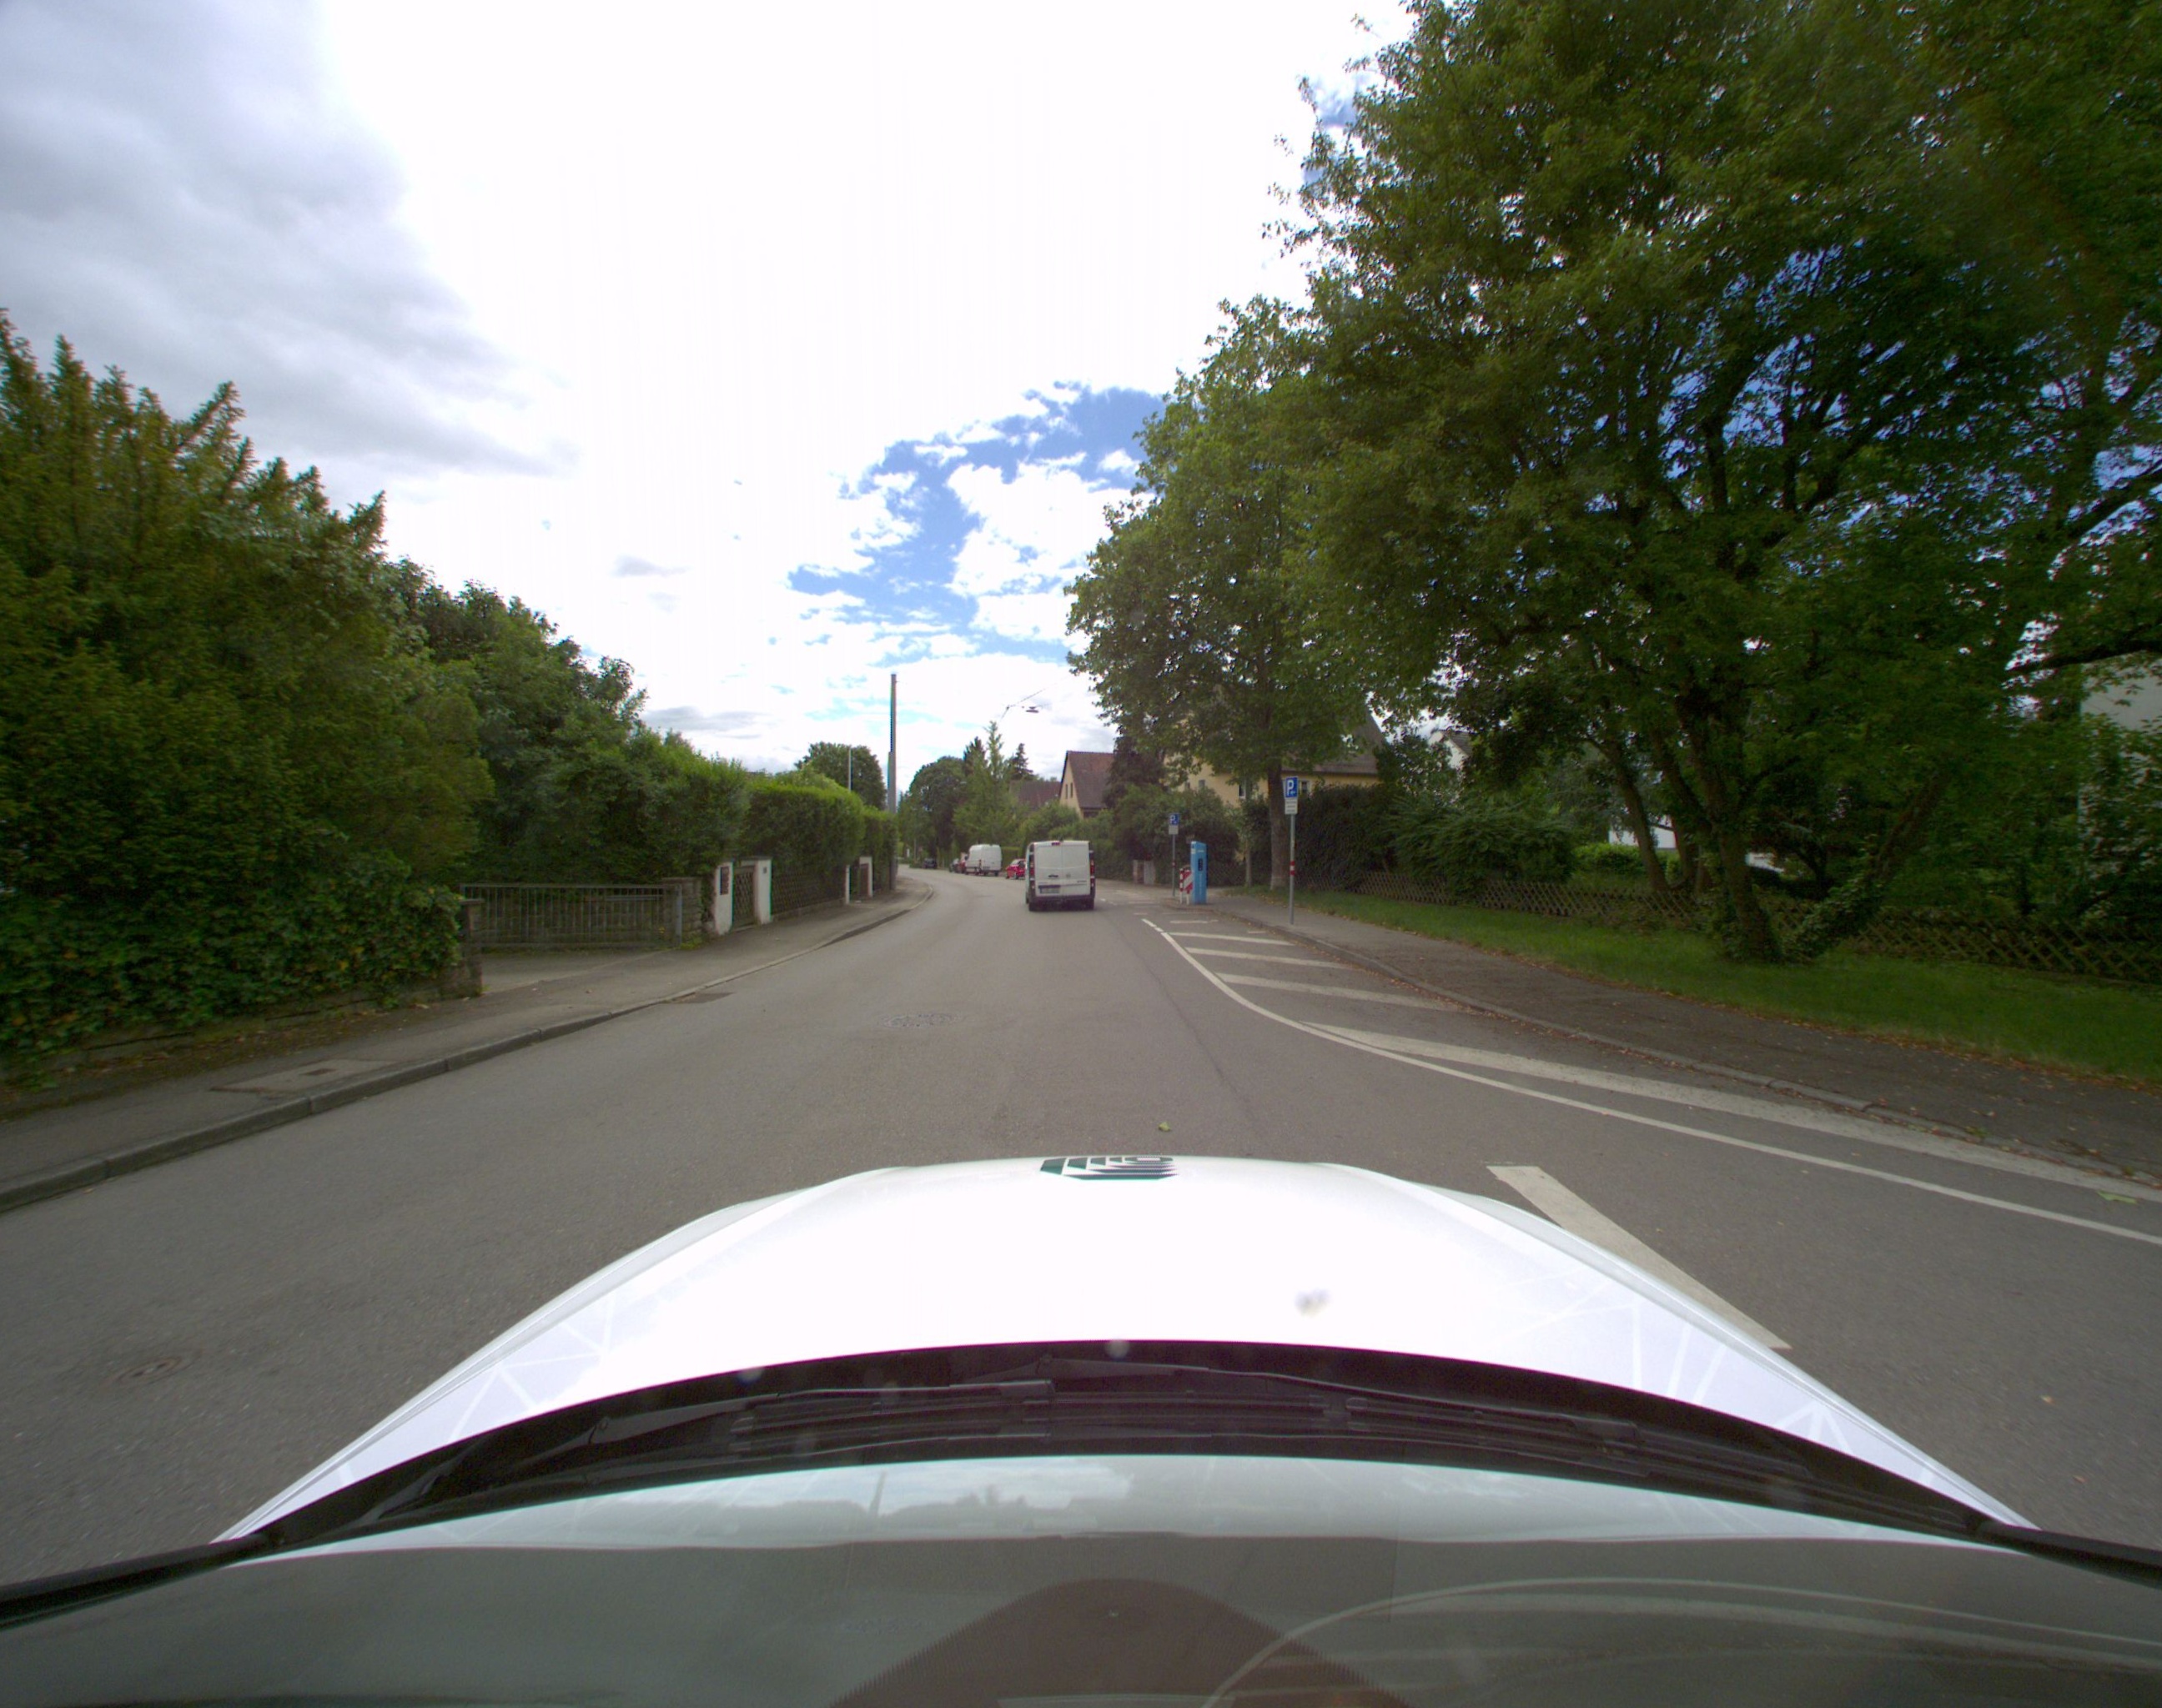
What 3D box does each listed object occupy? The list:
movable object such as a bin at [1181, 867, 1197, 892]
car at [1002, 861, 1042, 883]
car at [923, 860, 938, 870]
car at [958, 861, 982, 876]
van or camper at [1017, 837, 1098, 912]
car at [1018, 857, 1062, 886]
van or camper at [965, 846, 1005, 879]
[{"bbox_3d":[4.738,1.114,35.642,0.602,1.069,0.568,1,-1,-3],"label":"movable object such as a bin"},{"bbox_3d":[-4.185,1.251,57.156,1.718,1.467,4.239,0,0,-20],"label":"car"},{"bbox_3d":[-20.193,1.472,108.910,1.535,1.304,3.207,0,0,-19],"label":"car"},{"bbox_3d":[-10.631,1.355,77.643,1.535,1.304,4.005,0,0,-19],"label":"car"},{"bbox_3d":[-0.817,0.515,24.504,1.923,2.013,4.817,1,1,-8],"label":"van or camper"},{"bbox_3d":[-2.670,1.084,52.221,1.764,1.797,4.922,0,0,-16],"label":"car"},{"bbox_3d":[-8.351,0.729,70.255,2.073,2.675,6.287,1,-1,-19],"label":"van or camper"}]
